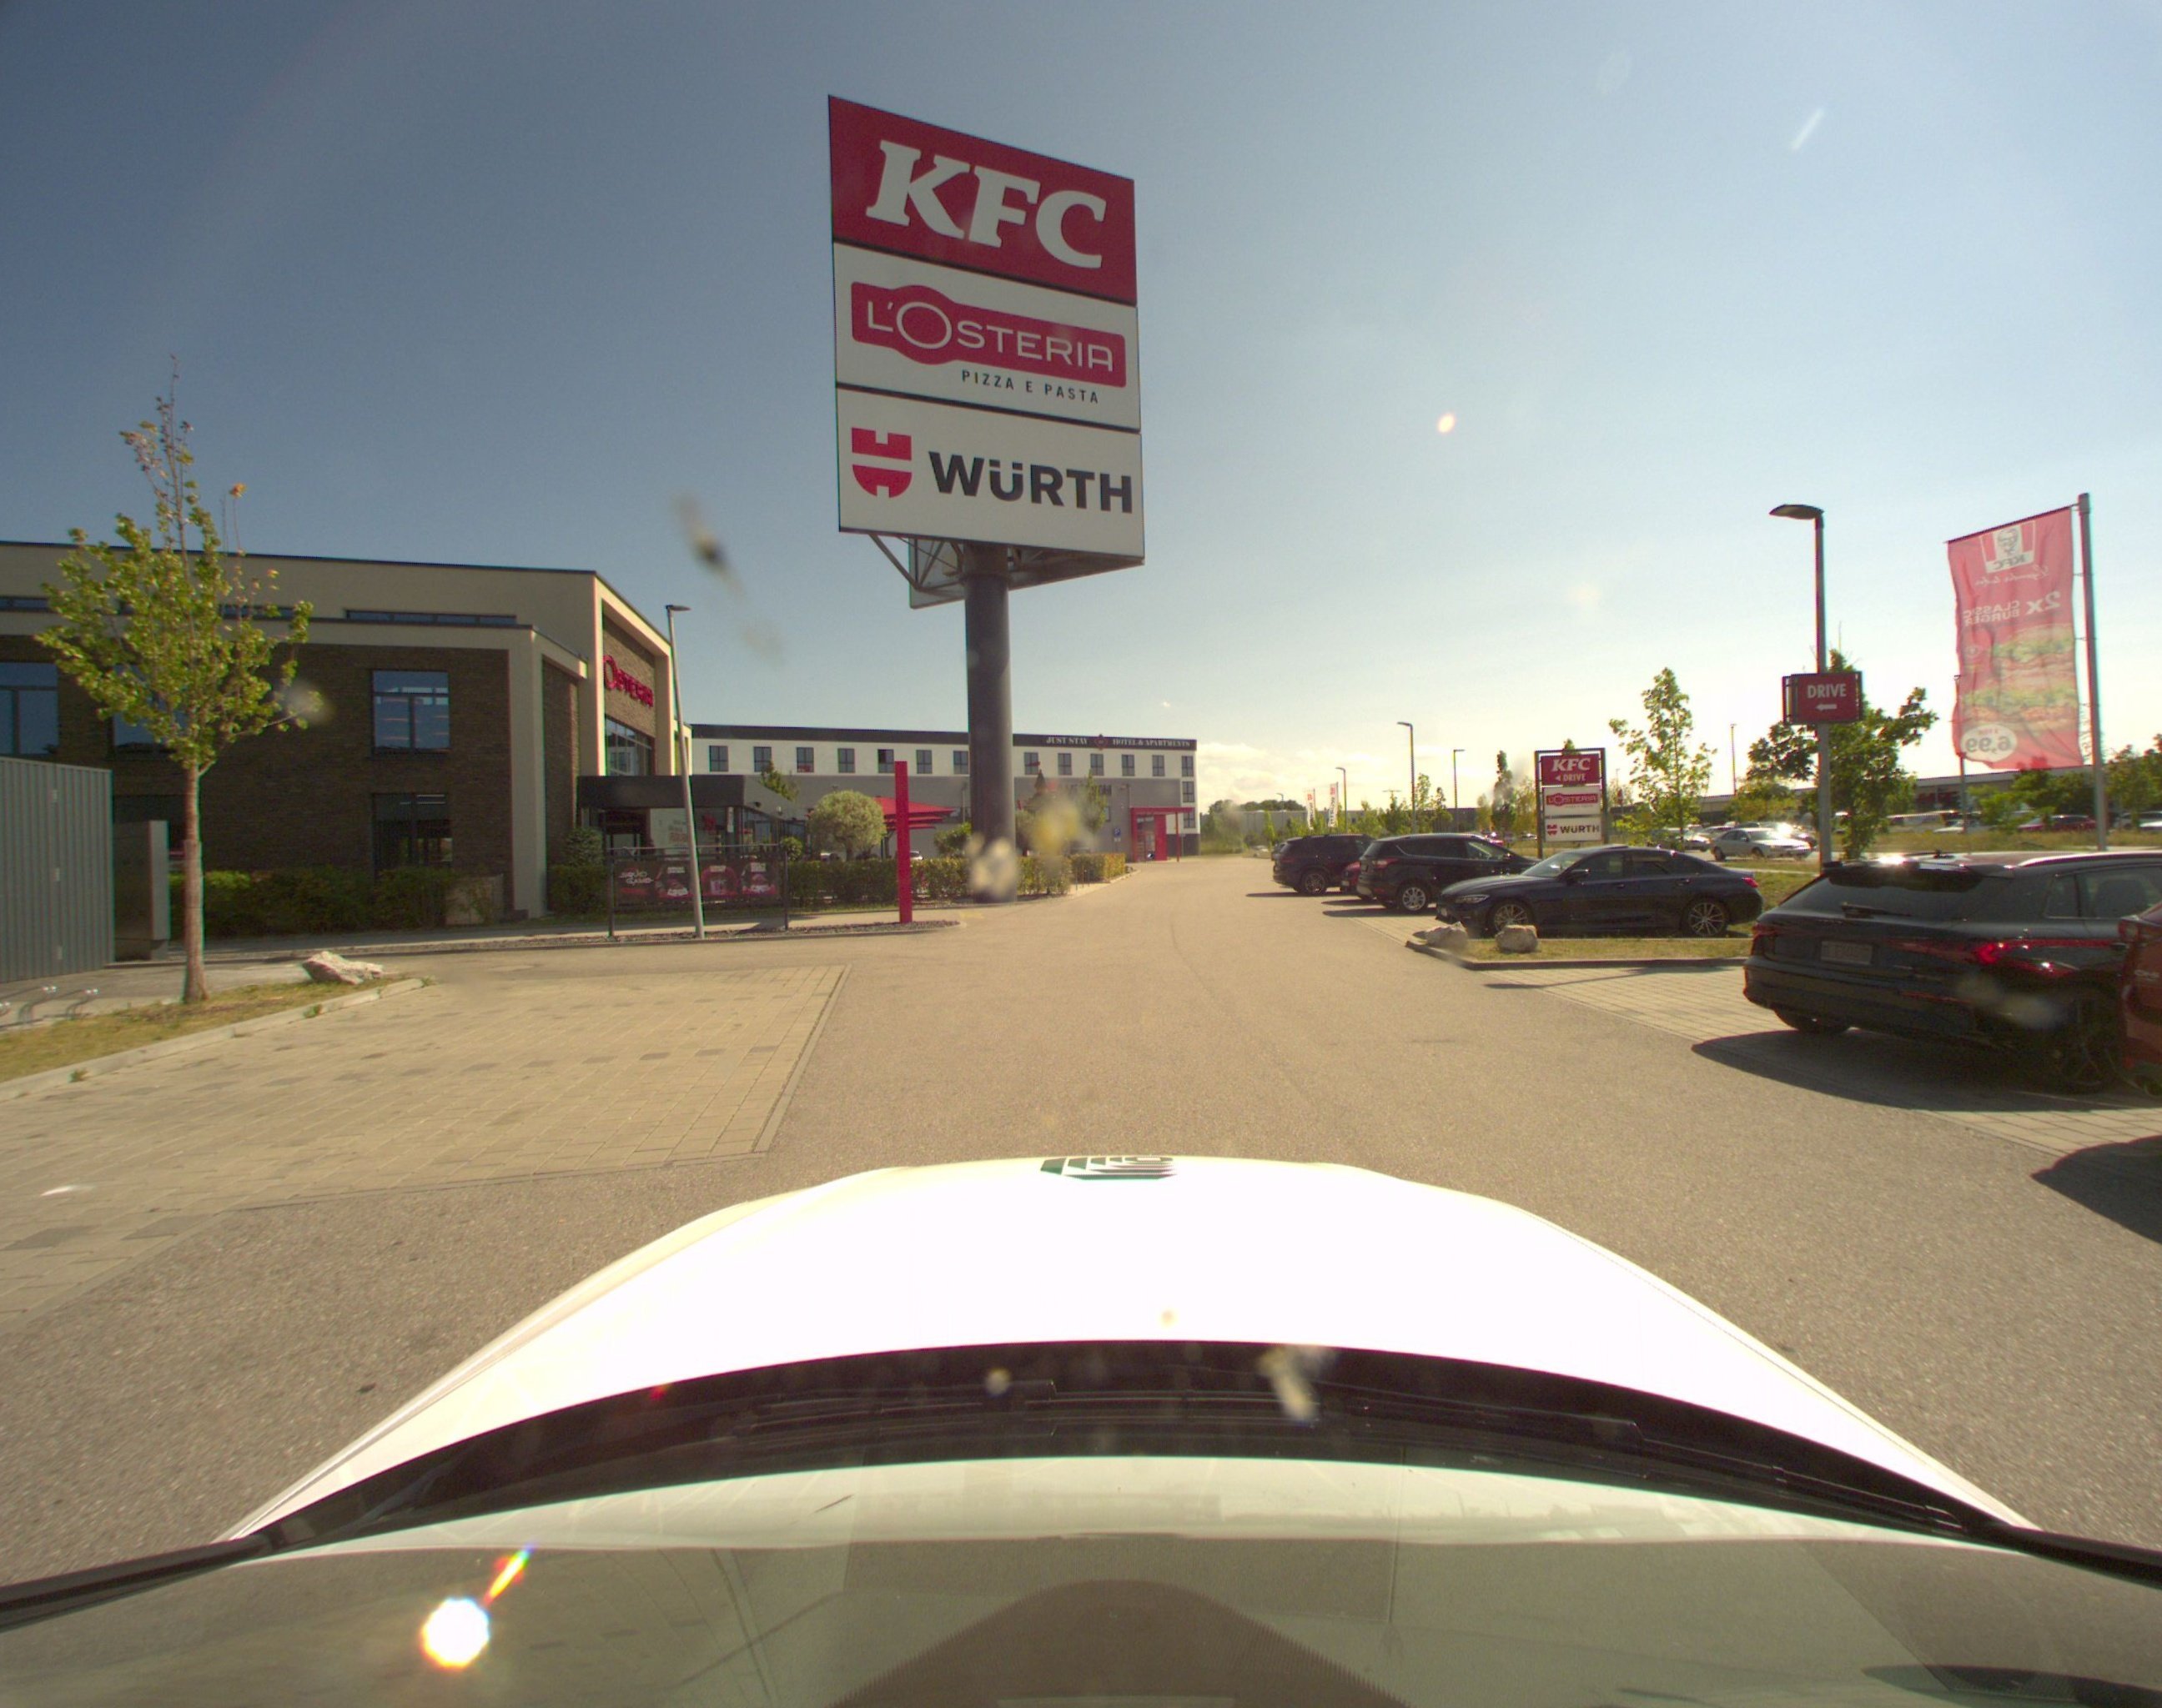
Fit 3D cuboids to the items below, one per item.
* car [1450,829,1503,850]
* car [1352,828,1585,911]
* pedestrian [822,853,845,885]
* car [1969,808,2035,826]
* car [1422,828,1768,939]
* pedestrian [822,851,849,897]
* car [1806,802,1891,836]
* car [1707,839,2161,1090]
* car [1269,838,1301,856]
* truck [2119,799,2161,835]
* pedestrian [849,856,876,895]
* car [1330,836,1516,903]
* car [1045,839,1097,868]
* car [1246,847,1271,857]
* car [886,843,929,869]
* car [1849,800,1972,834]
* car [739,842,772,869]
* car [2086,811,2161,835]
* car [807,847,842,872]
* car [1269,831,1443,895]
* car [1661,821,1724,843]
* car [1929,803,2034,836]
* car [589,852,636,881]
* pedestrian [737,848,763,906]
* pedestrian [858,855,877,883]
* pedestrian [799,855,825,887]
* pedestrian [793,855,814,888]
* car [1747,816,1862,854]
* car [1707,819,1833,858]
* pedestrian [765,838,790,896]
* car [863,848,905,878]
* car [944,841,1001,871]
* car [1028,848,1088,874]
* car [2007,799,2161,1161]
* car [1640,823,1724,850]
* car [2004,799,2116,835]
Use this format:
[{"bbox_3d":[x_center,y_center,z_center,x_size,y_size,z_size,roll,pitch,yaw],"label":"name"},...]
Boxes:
[{"bbox_3d":[35.089,-1.291,72.425,1.992,1.732,4.748,-2,1,-7],"label":"car"},{"bbox_3d":[8.356,0.334,17.967,4.291,1.702,1.901,-1,0,10],"label":"car"},{"bbox_3d":[-9.606,0.592,31.660,0.706,1.198,0.615,-2,1,-5],"label":"pedestrian"},{"bbox_3d":[78.343,-3.160,69.344,1.429,1.400,3.470,-2,1,-12],"label":"car"},{"bbox_3d":[8.180,0.452,13.355,4.413,1.638,1.899,-1,0,6],"label":"car"},{"bbox_3d":[-7.599,0.609,25.206,0.654,1.366,0.476,-2,1,-38],"label":"pedestrian"},{"bbox_3d":[61.186,-2.778,64.971,5.049,2.455,1.998,-2,1,-4],"label":"car"},{"bbox_3d":[7.120,0.619,5.727,4.183,1.410,1.772,-1,0,-3],"label":"car"},{"bbox_3d":[16.426,-0.570,65.810,1.692,1.406,3.898,-1,0,1],"label":"car"},{"bbox_3d":[58.625,-2.004,42.693,5.386,1.863,2.004,-2,1,6],"label":"truck"},{"bbox_3d":[-6.817,0.663,25.425,0.654,1.185,0.476,-2,1,-38],"label":"pedestrian"},{"bbox_3d":[8.775,0.377,21.179,4.051,1.608,1.897,-1,1,3],"label":"car"},{"bbox_3d":[-0.773,-0.059,58.483,2.079,1.880,4.844,-2,1,-22],"label":"car"},{"bbox_3d":[27.299,-0.325,125.478,1.878,1.483,3.974,-2,1,-19],"label":"car"},{"bbox_3d":[-11.791,0.115,55.215,1.957,1.585,4.342,-2,1,-24],"label":"car"},{"bbox_3d":[61.488,-2.690,60.447,6.270,2.237,2.817,-2,1,0],"label":"car"},{"bbox_3d":[-20.464,0.101,51.058,1.739,1.567,3.920,-2,1,-24],"label":"car"},{"bbox_3d":[76.313,-2.270,58.970,1.990,1.618,3.994,-2,0,-5],"label":"car"},{"bbox_3d":[-16.754,0.323,53.048,1.739,1.487,3.920,-2,1,-24],"label":"car"},{"bbox_3d":[8.065,0.246,24.229,4.554,1.760,1.898,-1,0,4],"label":"car"},{"bbox_3d":[62.475,-2.229,83.188,5.049,2.013,1.998,-2,1,-4],"label":"car"},{"bbox_3d":[60.803,-2.338,55.015,5.151,2.013,1.998,-2,1,-4],"label":"car"},{"bbox_3d":[-27.617,0.709,48.118,1.645,1.567,3.660,-2,1,-19],"label":"car"},{"bbox_3d":[-8.828,0.613,21.731,0.525,1.505,0.566,-2,1,-15],"label":"pedestrian"},{"bbox_3d":[-8.684,0.617,33.173,0.574,1.089,0.545,-2,1,3],"label":"pedestrian"},{"bbox_3d":[-10.427,0.642,31.559,0.702,1.198,0.619,-2,1,17],"label":"pedestrian"},{"bbox_3d":[-10.372,0.650,30.440,0.710,1.198,0.663,-2,1,-20],"label":"pedestrian"},{"bbox_3d":[34.391,-0.906,38.897,1.862,1.664,4.614,-2,1,8],"label":"car"},{"bbox_3d":[29.890,-0.671,35.570,1.983,1.526,4.667,-2,1,7],"label":"car"},{"bbox_3d":[-8.123,0.332,21.798,0.525,1.505,0.566,-2,1,-15],"label":"pedestrian"},{"bbox_3d":[-9.198,0.397,38.249,1.642,1.308,3.828,-2,0,-10],"label":"car"},{"bbox_3d":[-6.033,0.108,45.006,1.957,1.530,4.342,-2,1,-24],"label":"car"},{"bbox_3d":[-1.382,0.352,46.627,1.871,1.362,4.342,-2,1,-24],"label":"car"},{"bbox_3d":[6.974,0.537,3.339,4.205,1.638,1.950,-1,0,-1],"label":"car"},{"bbox_3d":[36.311,-1.034,49.356,1.983,1.504,4.666,-2,1,6],"label":"car"},{"bbox_3d":[60.169,-2.248,50.115,4.051,2.013,2.006,-2,1,10],"label":"car"}]
